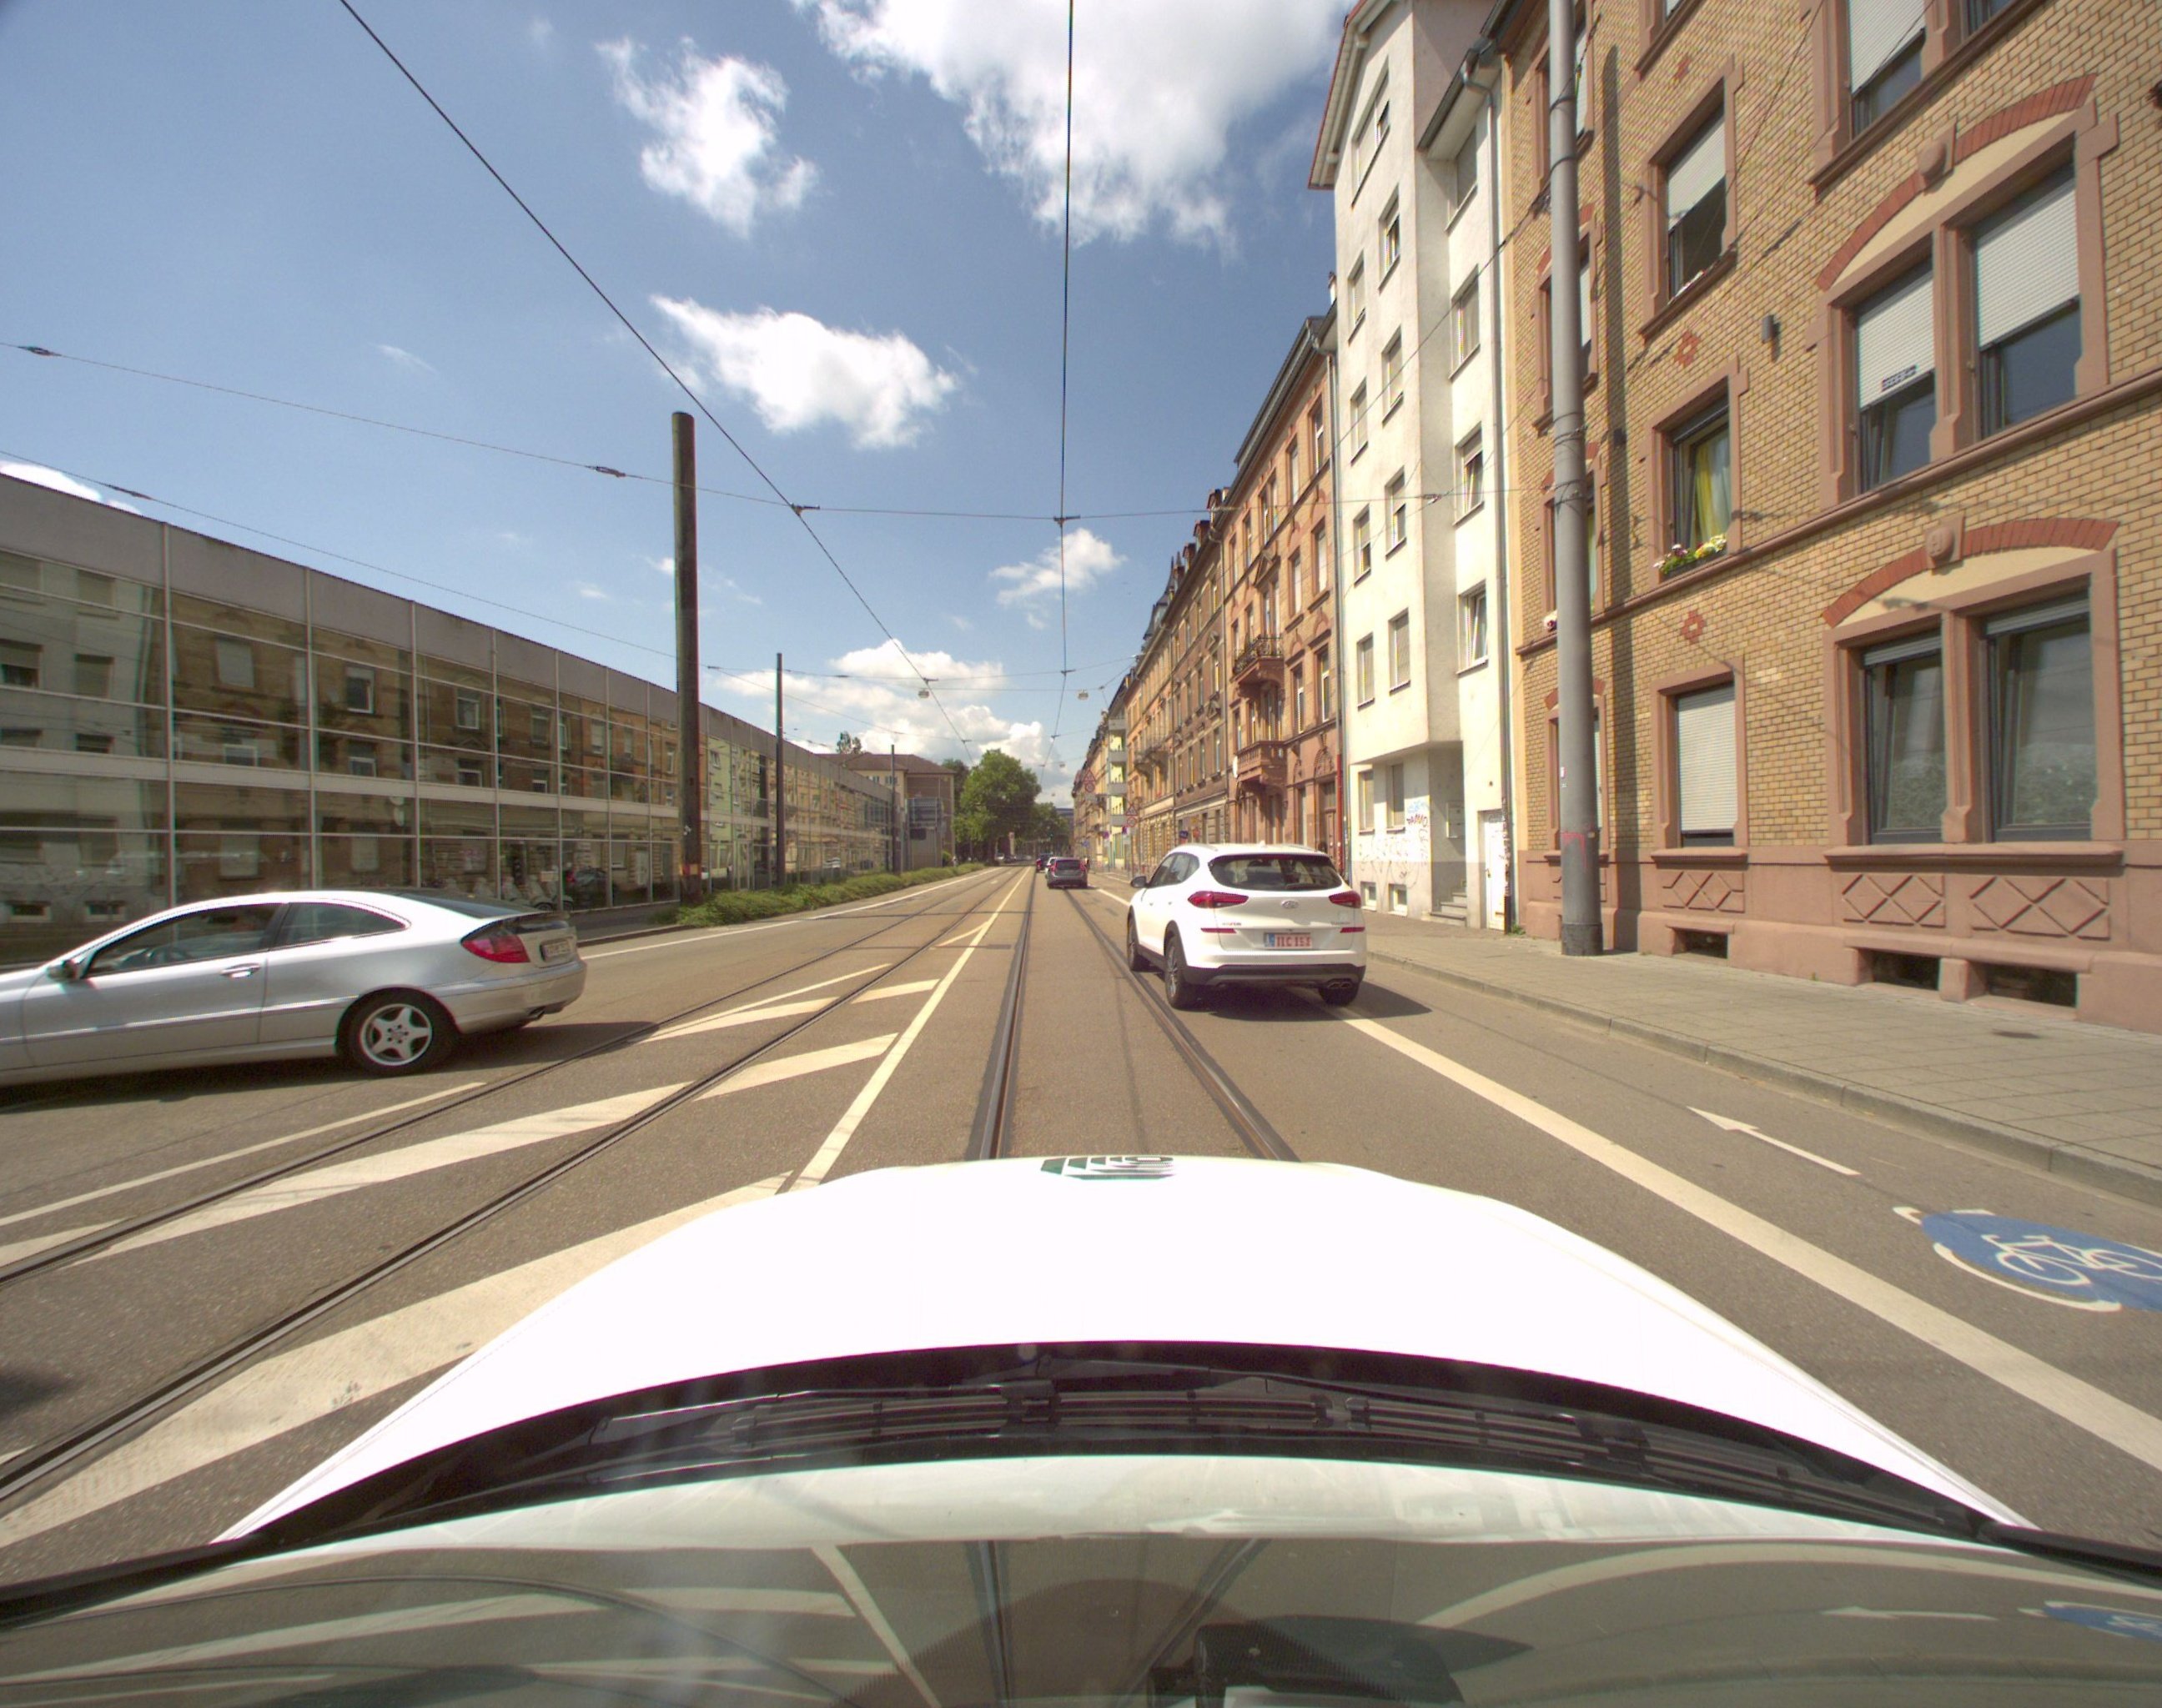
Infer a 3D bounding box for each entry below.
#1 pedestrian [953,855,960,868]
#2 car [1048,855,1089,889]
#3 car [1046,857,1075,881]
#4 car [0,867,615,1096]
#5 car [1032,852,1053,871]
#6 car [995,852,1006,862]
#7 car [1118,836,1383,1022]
[{"bbox_3d":[-17.619,1.027,115.284,0.878,1.865,1.080,-2,0,-3],"label":"pedestrian"},{"bbox_3d":[-0.564,0.811,38.851,1.809,1.524,4.084,-1,0,0],"label":"car"},{"bbox_3d":[-1.434,0.991,54.785,1.810,1.524,3.951,-2,0,-3],"label":"car"},{"bbox_3d":[-6.360,0.873,6.488,4.176,1.420,1.813,-1,0,-12],"label":"car"},{"bbox_3d":[-3.535,0.651,74.989,1.810,1.661,4.080,-1,0,-3],"label":"car"},{"bbox_3d":[-15.496,0.633,157.129,1.946,1.895,4.560,0,0,-3],"label":"car"},{"bbox_3d":[1.633,0.656,9.399,1.849,1.634,4.173,-1,0,-5],"label":"car"}]
